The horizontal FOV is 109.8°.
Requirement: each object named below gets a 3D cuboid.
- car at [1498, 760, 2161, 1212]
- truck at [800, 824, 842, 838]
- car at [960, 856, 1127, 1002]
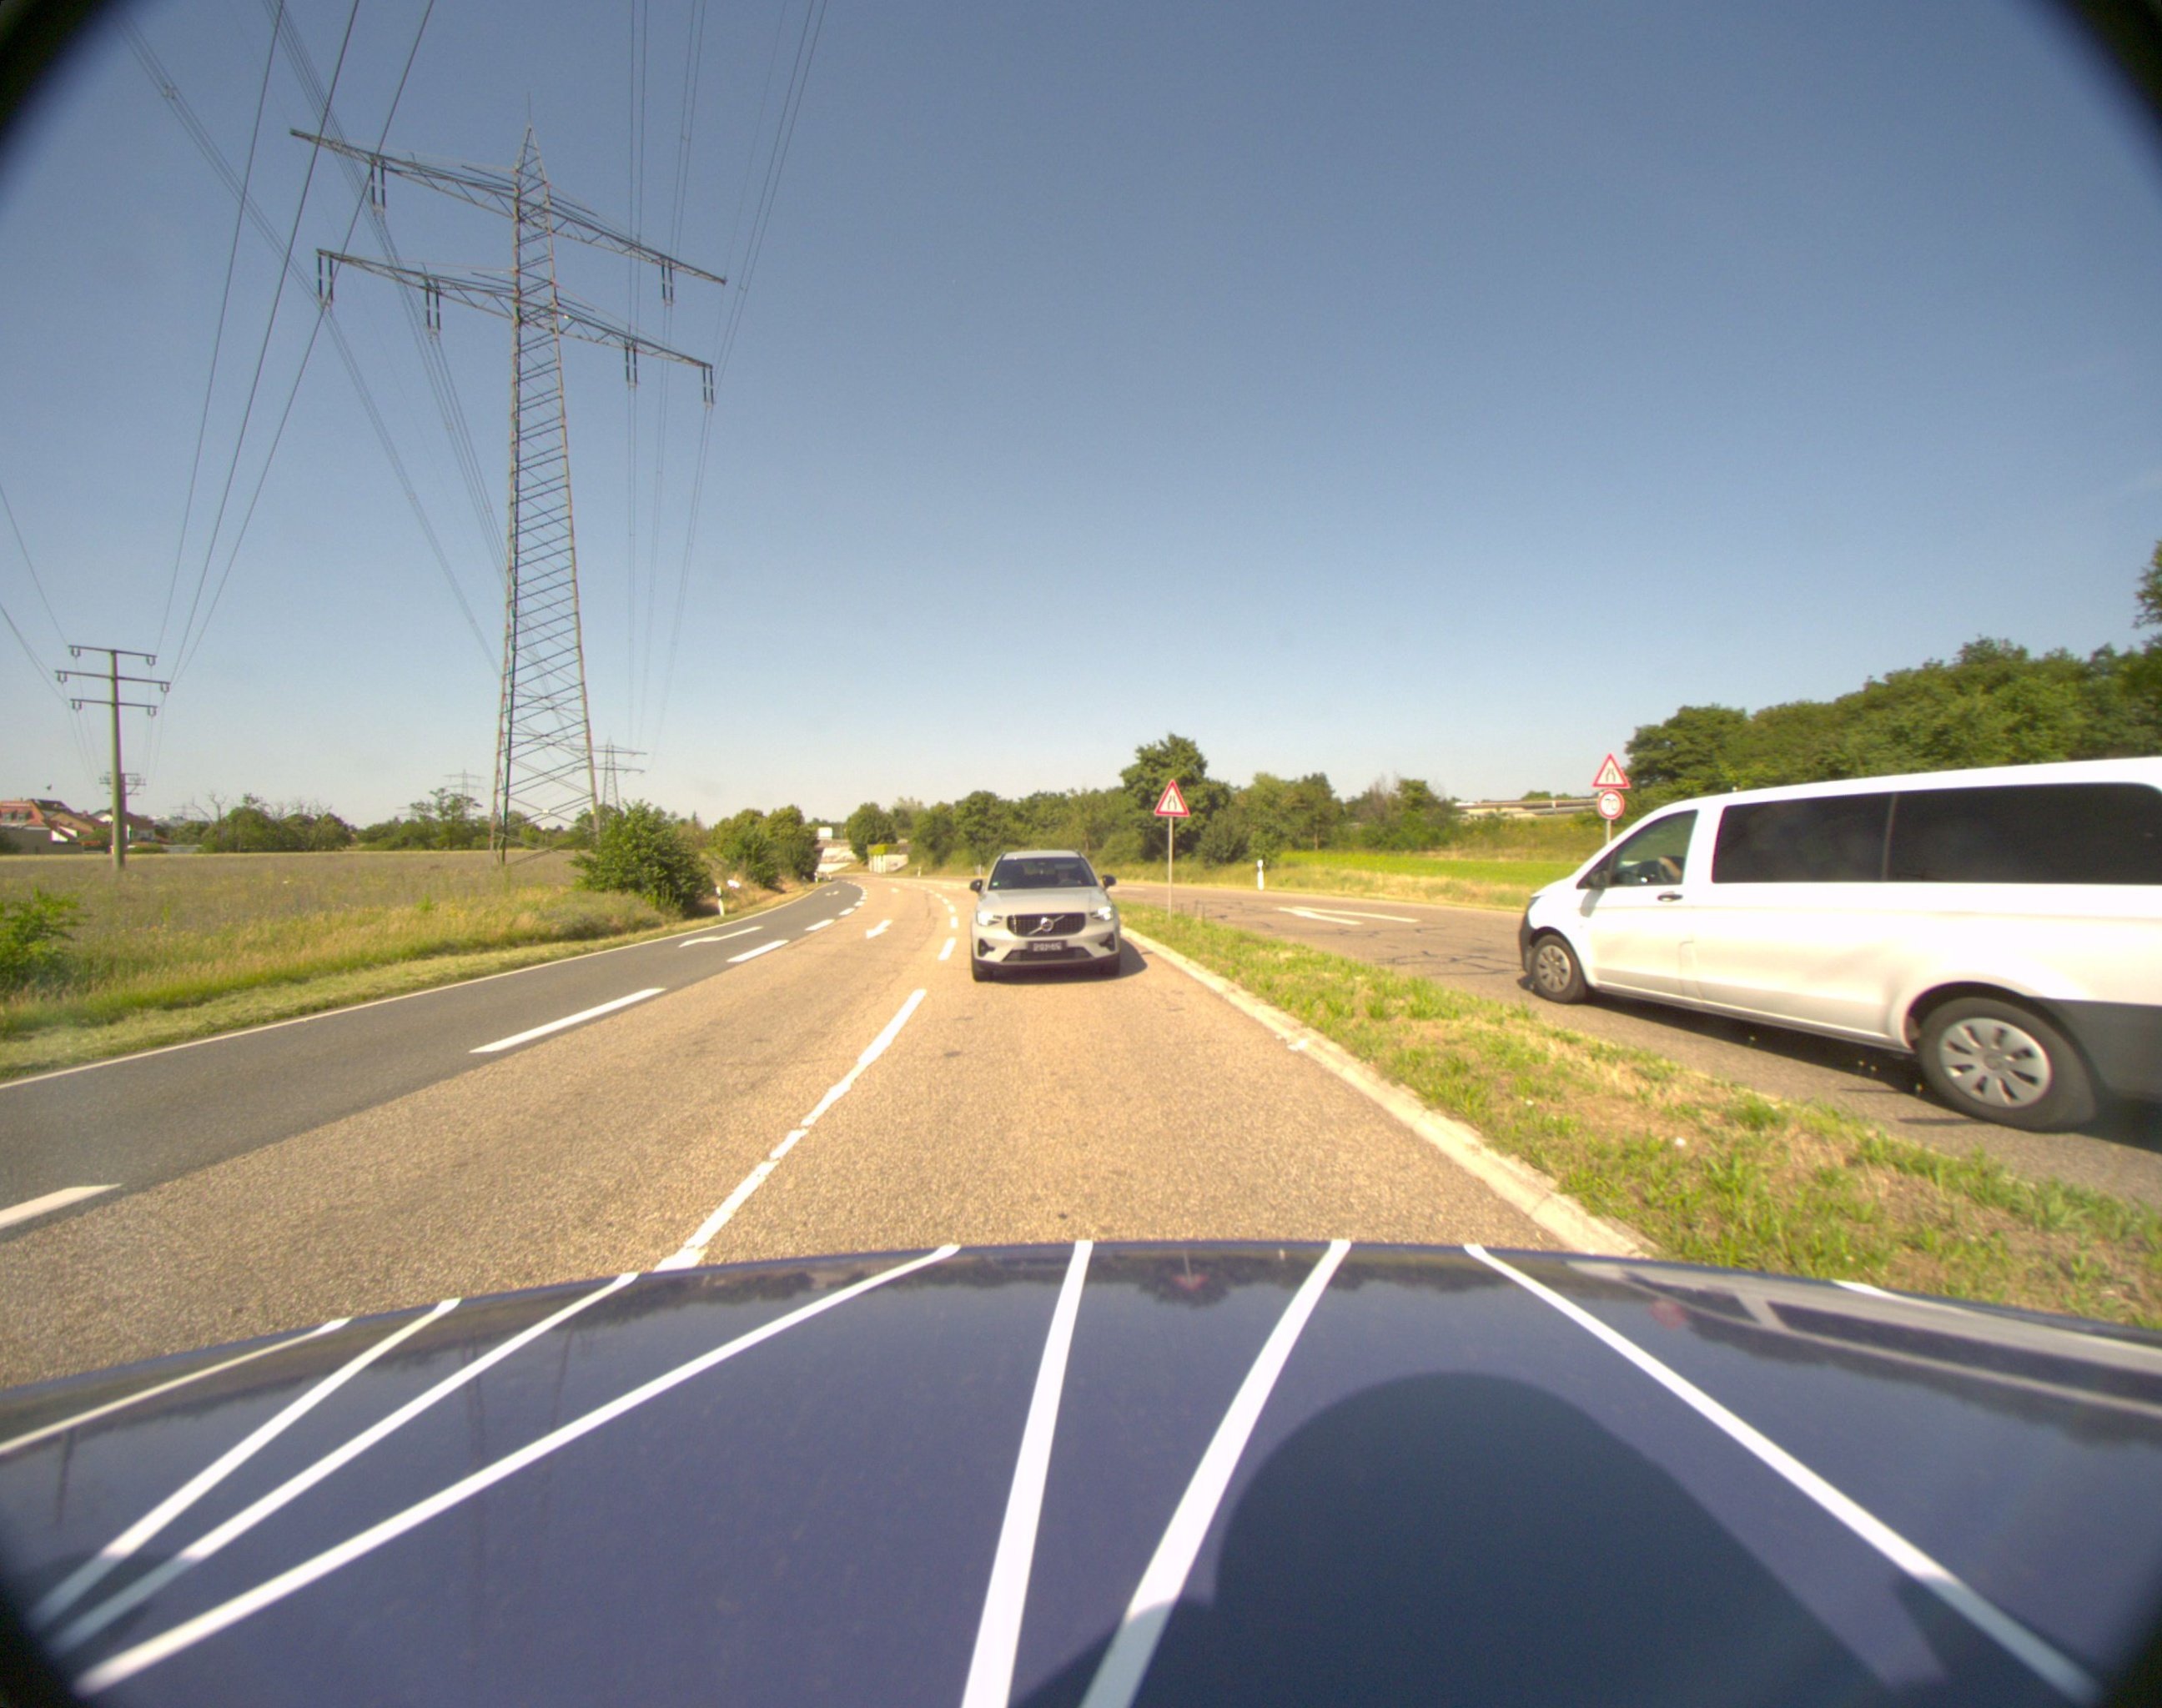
[{"bbox_3d":[5.395,0.536,5.237,1.999,1.907,4.946,-2,0,-4],"label":"car"},{"bbox_3d":[-65.435,-5.772,191.115,10.137,3.011,2.379,-2,1,12],"label":"truck"},{"bbox_3d":[-0.407,0.866,10.518,1.859,1.609,3.647,-2,0,1],"label":"car"}]
